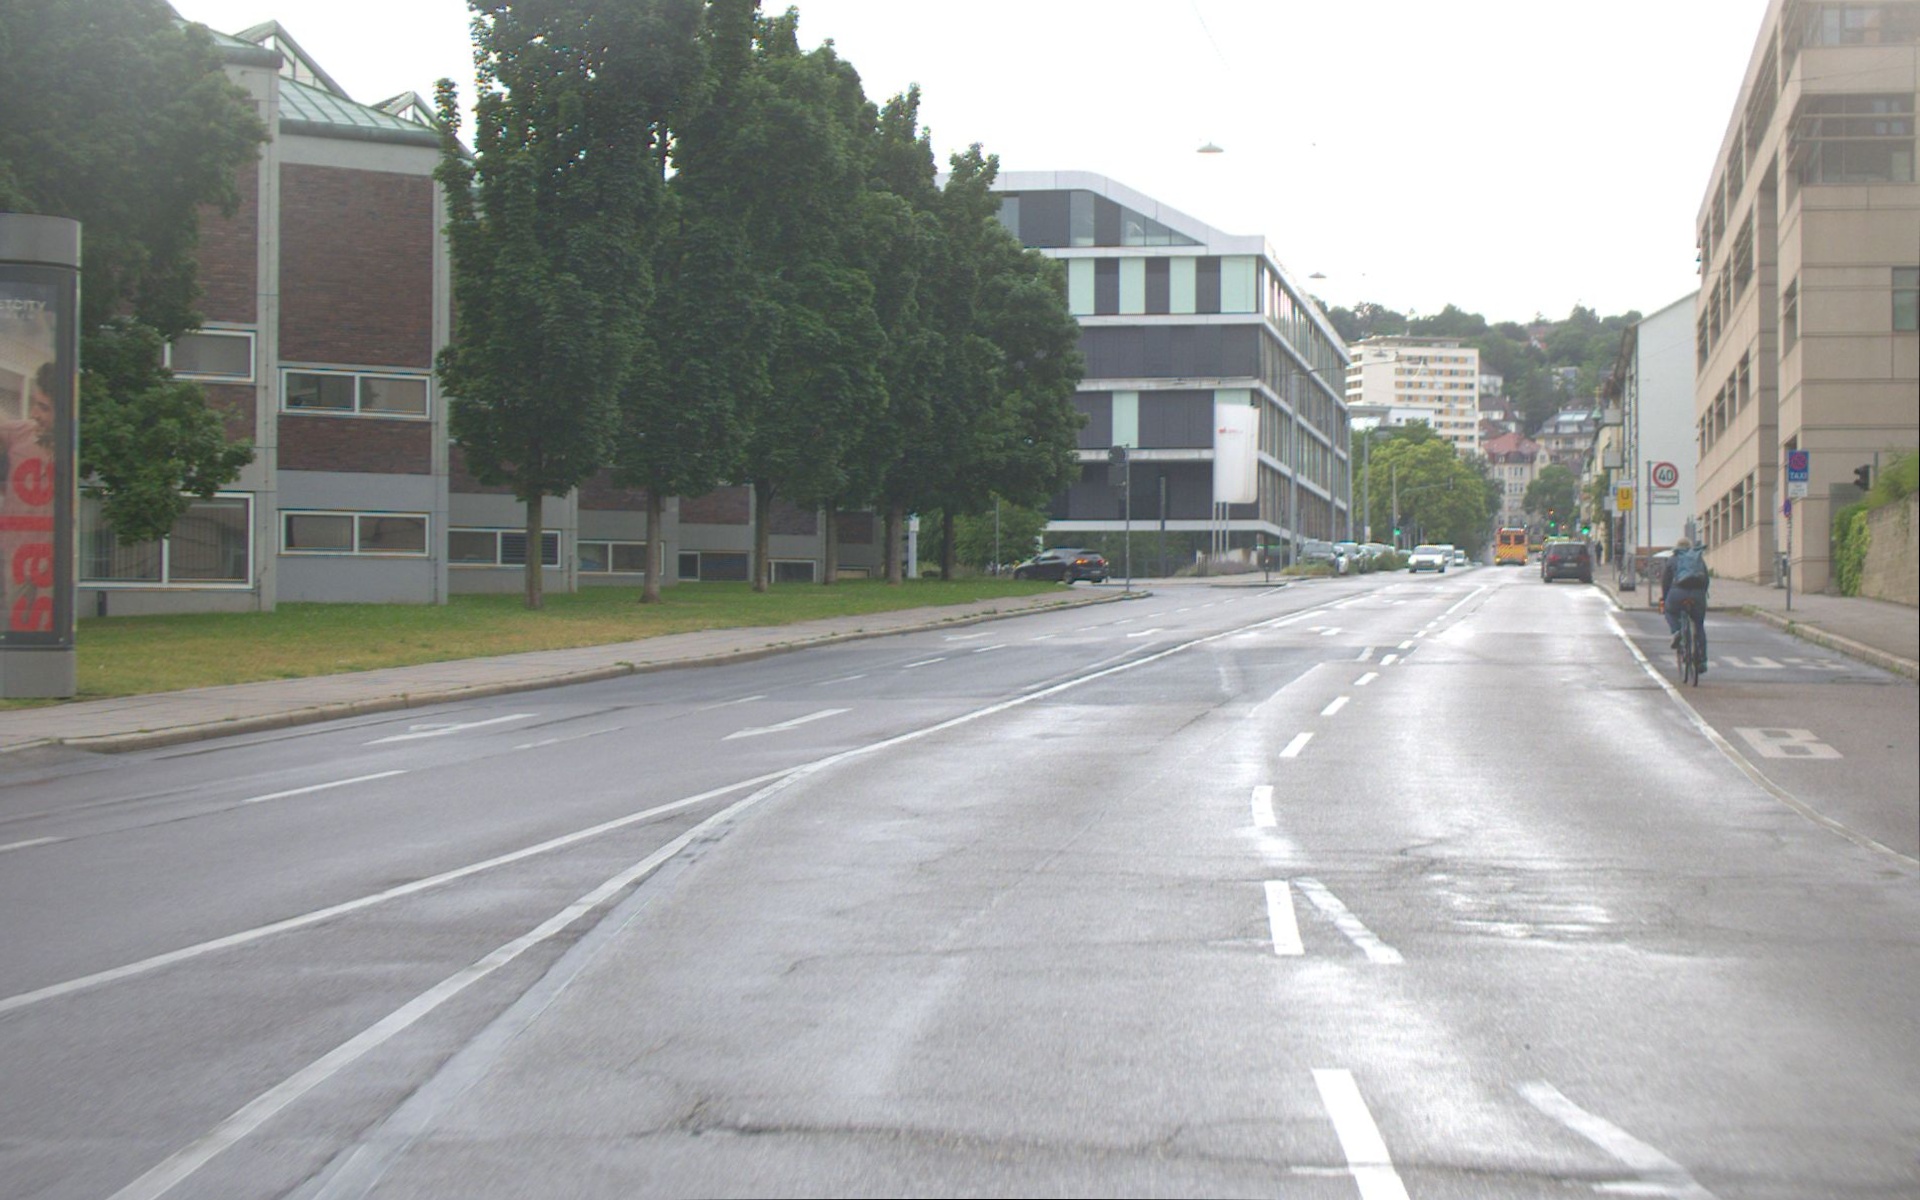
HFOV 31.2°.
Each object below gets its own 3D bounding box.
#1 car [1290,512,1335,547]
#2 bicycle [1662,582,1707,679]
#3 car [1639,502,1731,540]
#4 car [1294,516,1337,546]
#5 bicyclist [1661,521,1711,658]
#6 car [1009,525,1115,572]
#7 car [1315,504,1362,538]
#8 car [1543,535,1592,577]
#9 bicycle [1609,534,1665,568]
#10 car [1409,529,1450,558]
[{"bbox_3d":[16.992,-3.385,165.656,1.850,1.612,4.489,1,1,10],"label":"car"},{"bbox_3d":[7.765,0.312,36.862,0.448,0.960,1.689,1,2,12],"label":"bicycle"},{"bbox_3d":[37.043,-4.031,175.682,4.439,1.707,1.904,-2,0,9],"label":"car"},{"bbox_3d":[17.813,-3.457,172.314,1.822,1.414,4.400,1,1,10],"label":"car"},{"bbox_3d":[7.765,-0.118,36.792,0.484,1.428,0.930,1,1,12],"label":"bicyclist"},{"bbox_3d":[4.110,-2.074,138.285,3.907,1.809,1.933,1,1,13],"label":"car"},{"bbox_3d":[20.073,-4.186,182.203,1.964,1.744,4.939,1,1,12],"label":"car"},{"bbox_3d":[24.036,-1.739,136.096,1.771,1.598,4.393,1,1,8],"label":"car"},{"bbox_3d":[22.261,-1.613,113.123,1.729,1.115,0.660,0,1,5],"label":"bicycle"},{"bbox_3d":[26.741,-3.217,195.511,1.882,1.485,5.217,-2,1,12],"label":"car"}]
